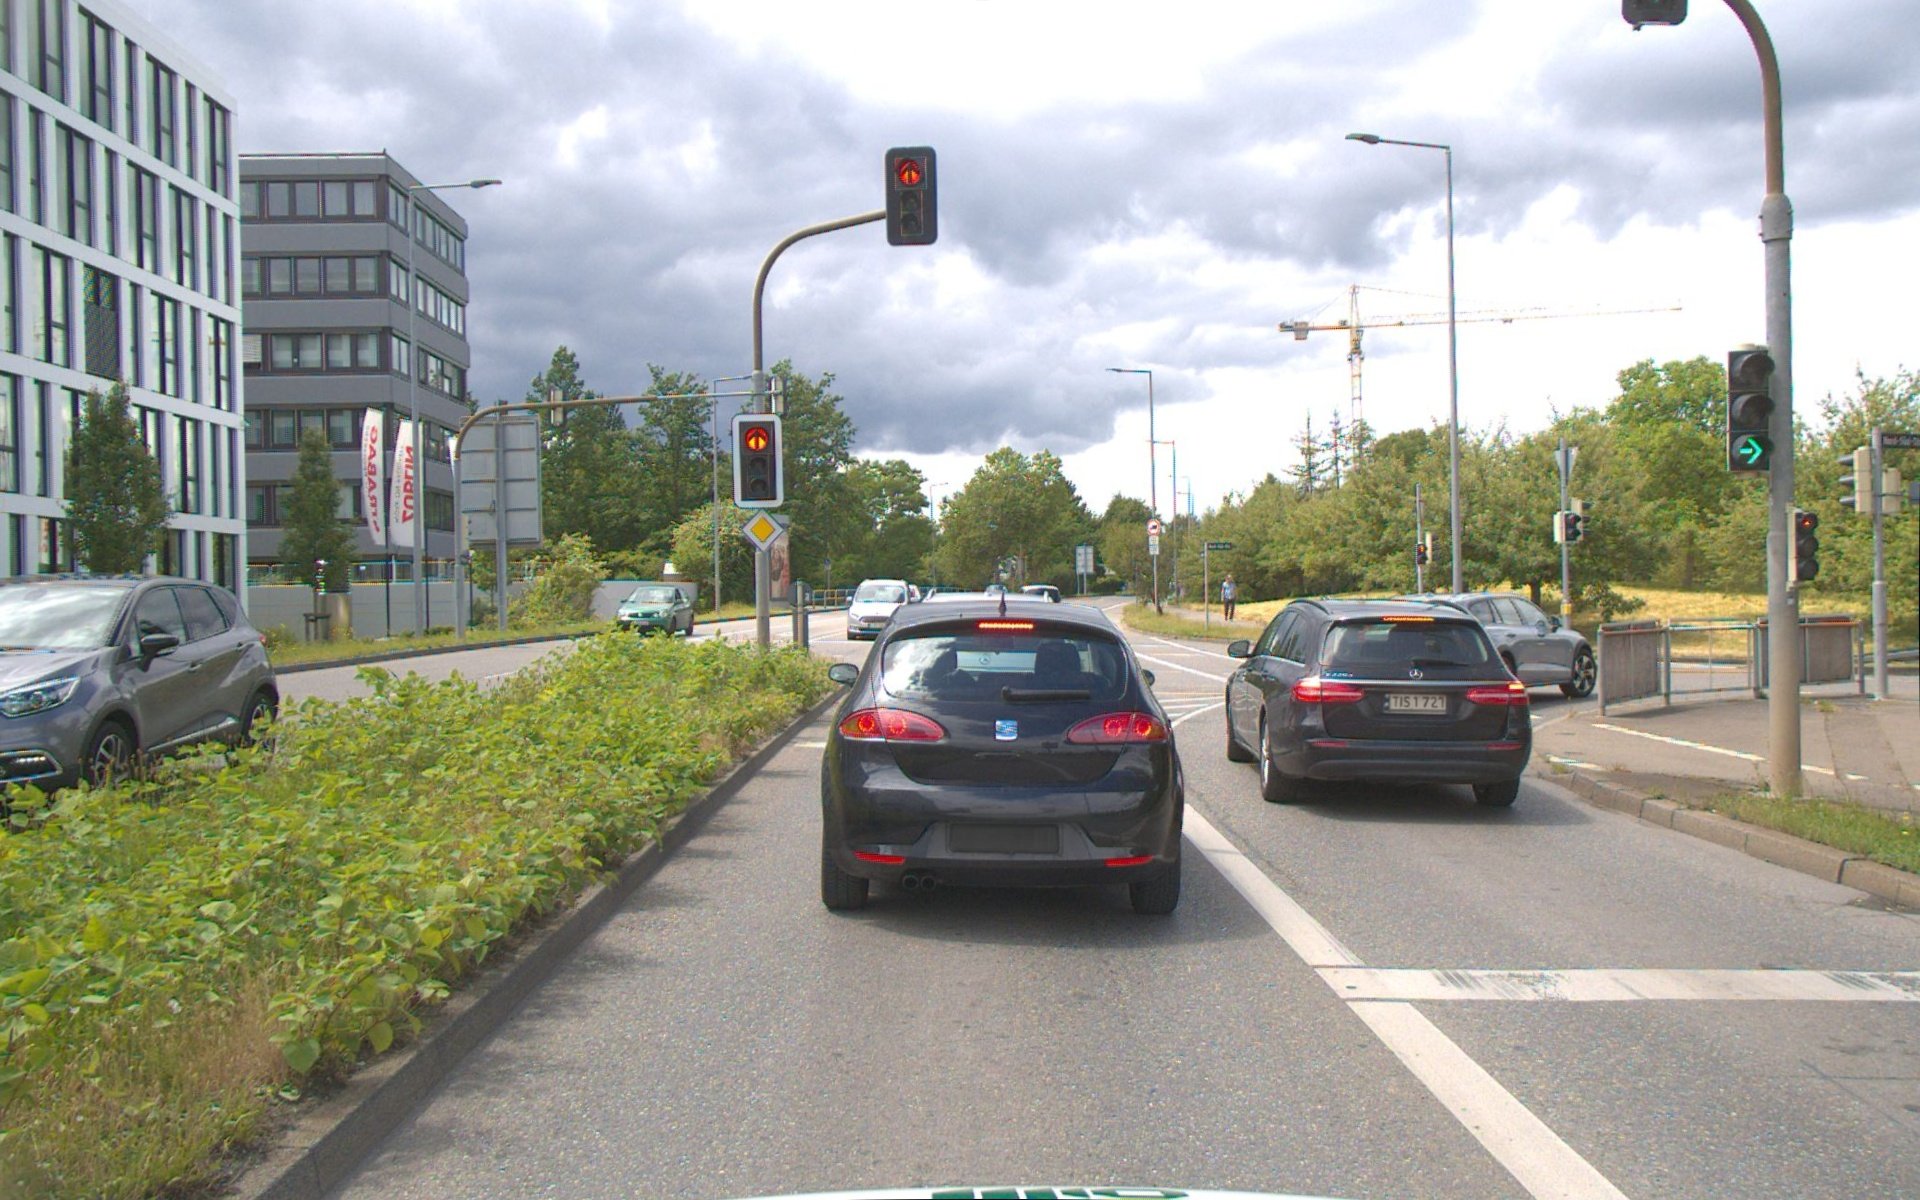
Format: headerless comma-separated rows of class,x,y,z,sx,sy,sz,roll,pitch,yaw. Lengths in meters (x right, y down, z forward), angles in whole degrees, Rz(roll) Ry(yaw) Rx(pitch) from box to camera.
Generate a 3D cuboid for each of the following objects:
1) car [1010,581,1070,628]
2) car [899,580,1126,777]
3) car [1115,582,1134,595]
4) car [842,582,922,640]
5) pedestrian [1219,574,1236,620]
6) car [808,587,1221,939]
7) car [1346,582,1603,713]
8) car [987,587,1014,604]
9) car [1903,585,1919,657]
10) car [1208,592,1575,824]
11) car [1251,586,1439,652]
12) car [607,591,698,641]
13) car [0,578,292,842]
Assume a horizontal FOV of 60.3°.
car,2.771,0.136,57.864,1.952,1.557,4.000,0,1,1
car,0.360,0.607,14.968,1.738,1.517,3.580,-1,1,-3
car,18.296,-1.273,184.146,1.951,1.375,4.003,0,1,7
car,-2.227,0.284,48.082,1.952,1.624,4.001,0,1,2
pedestrian,10.317,-0.113,63.712,0.547,1.756,0.588,0,0,0
car,0.209,0.676,8.788,1.737,1.477,3.582,0,0,-1
car,7.119,0.573,22.607,1.834,1.545,4.425,-1,1,39
car,3.503,-0.390,141.590,1.951,1.375,4.003,0,1,7
car,23.803,0.448,37.041,4.214,1.644,2.001,-1,0,3
car,3.226,0.700,13.487,1.833,1.466,5.202,-1,1,3
car,9.531,0.454,41.197,4.215,1.552,2.000,-1,0,0
car,-8.881,0.422,48.046,1.953,1.375,3.999,0,1,-1
car,-6.370,0.627,11.635,1.897,1.543,3.997,0,1,-3
